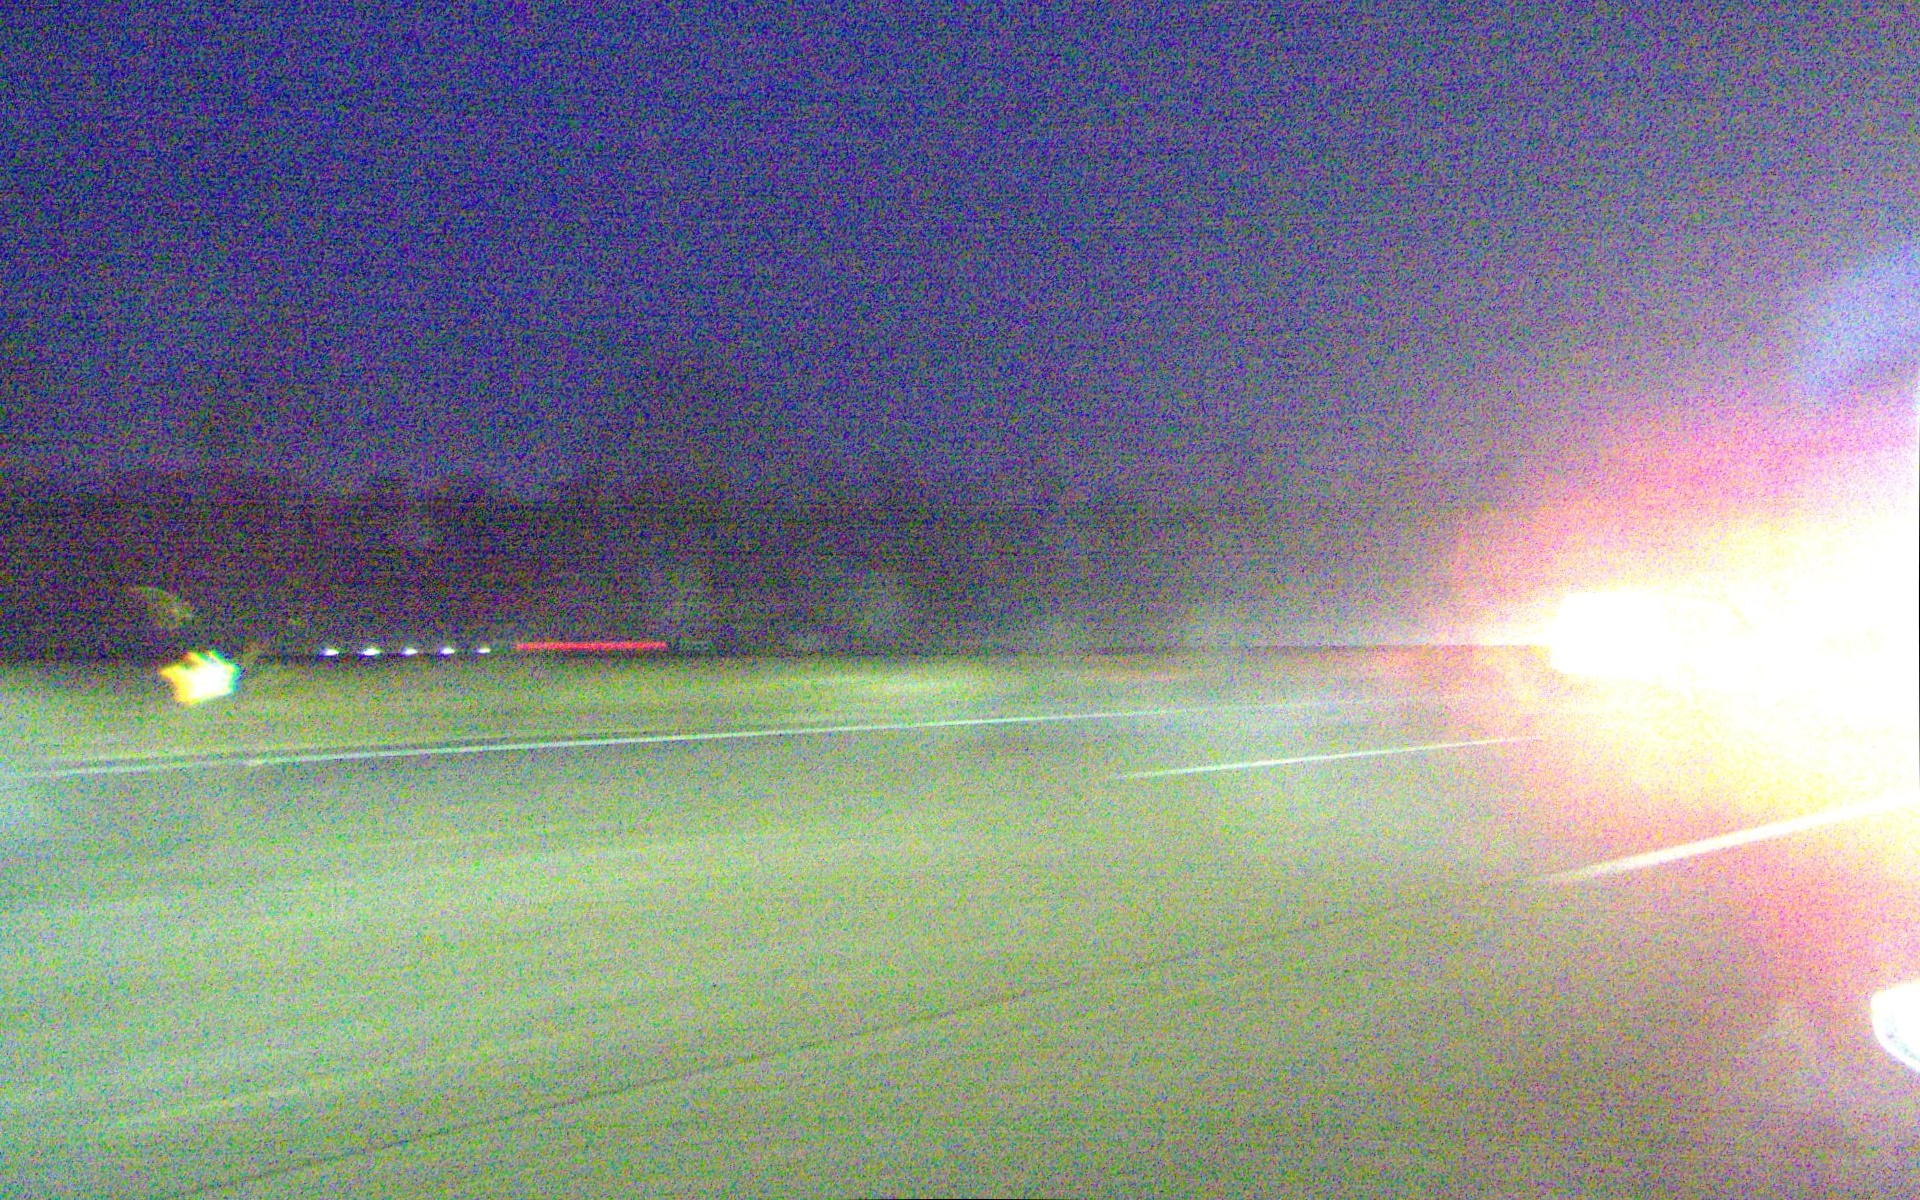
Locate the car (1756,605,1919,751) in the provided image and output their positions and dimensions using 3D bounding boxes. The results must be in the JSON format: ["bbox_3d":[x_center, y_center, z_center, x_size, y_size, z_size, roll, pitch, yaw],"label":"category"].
[{"bbox_3d":[12.653,0.954,13.668,3.959,1.712,1.754,1,0,-34],"label":"car"}]

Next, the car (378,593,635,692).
[{"bbox_3d":[-8.753,0.786,19.470,4.299,1.695,1.982,2,0,-32],"label":"car"}]

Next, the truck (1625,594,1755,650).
[{"bbox_3d":[40.676,1.230,55.916,7.650,2.884,2.887,2,0,-30],"label":"truck"}]

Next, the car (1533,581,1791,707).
[{"bbox_3d":[13.634,0.790,19.387,5.568,2.132,2.111,1,0,-33],"label":"car"}]
